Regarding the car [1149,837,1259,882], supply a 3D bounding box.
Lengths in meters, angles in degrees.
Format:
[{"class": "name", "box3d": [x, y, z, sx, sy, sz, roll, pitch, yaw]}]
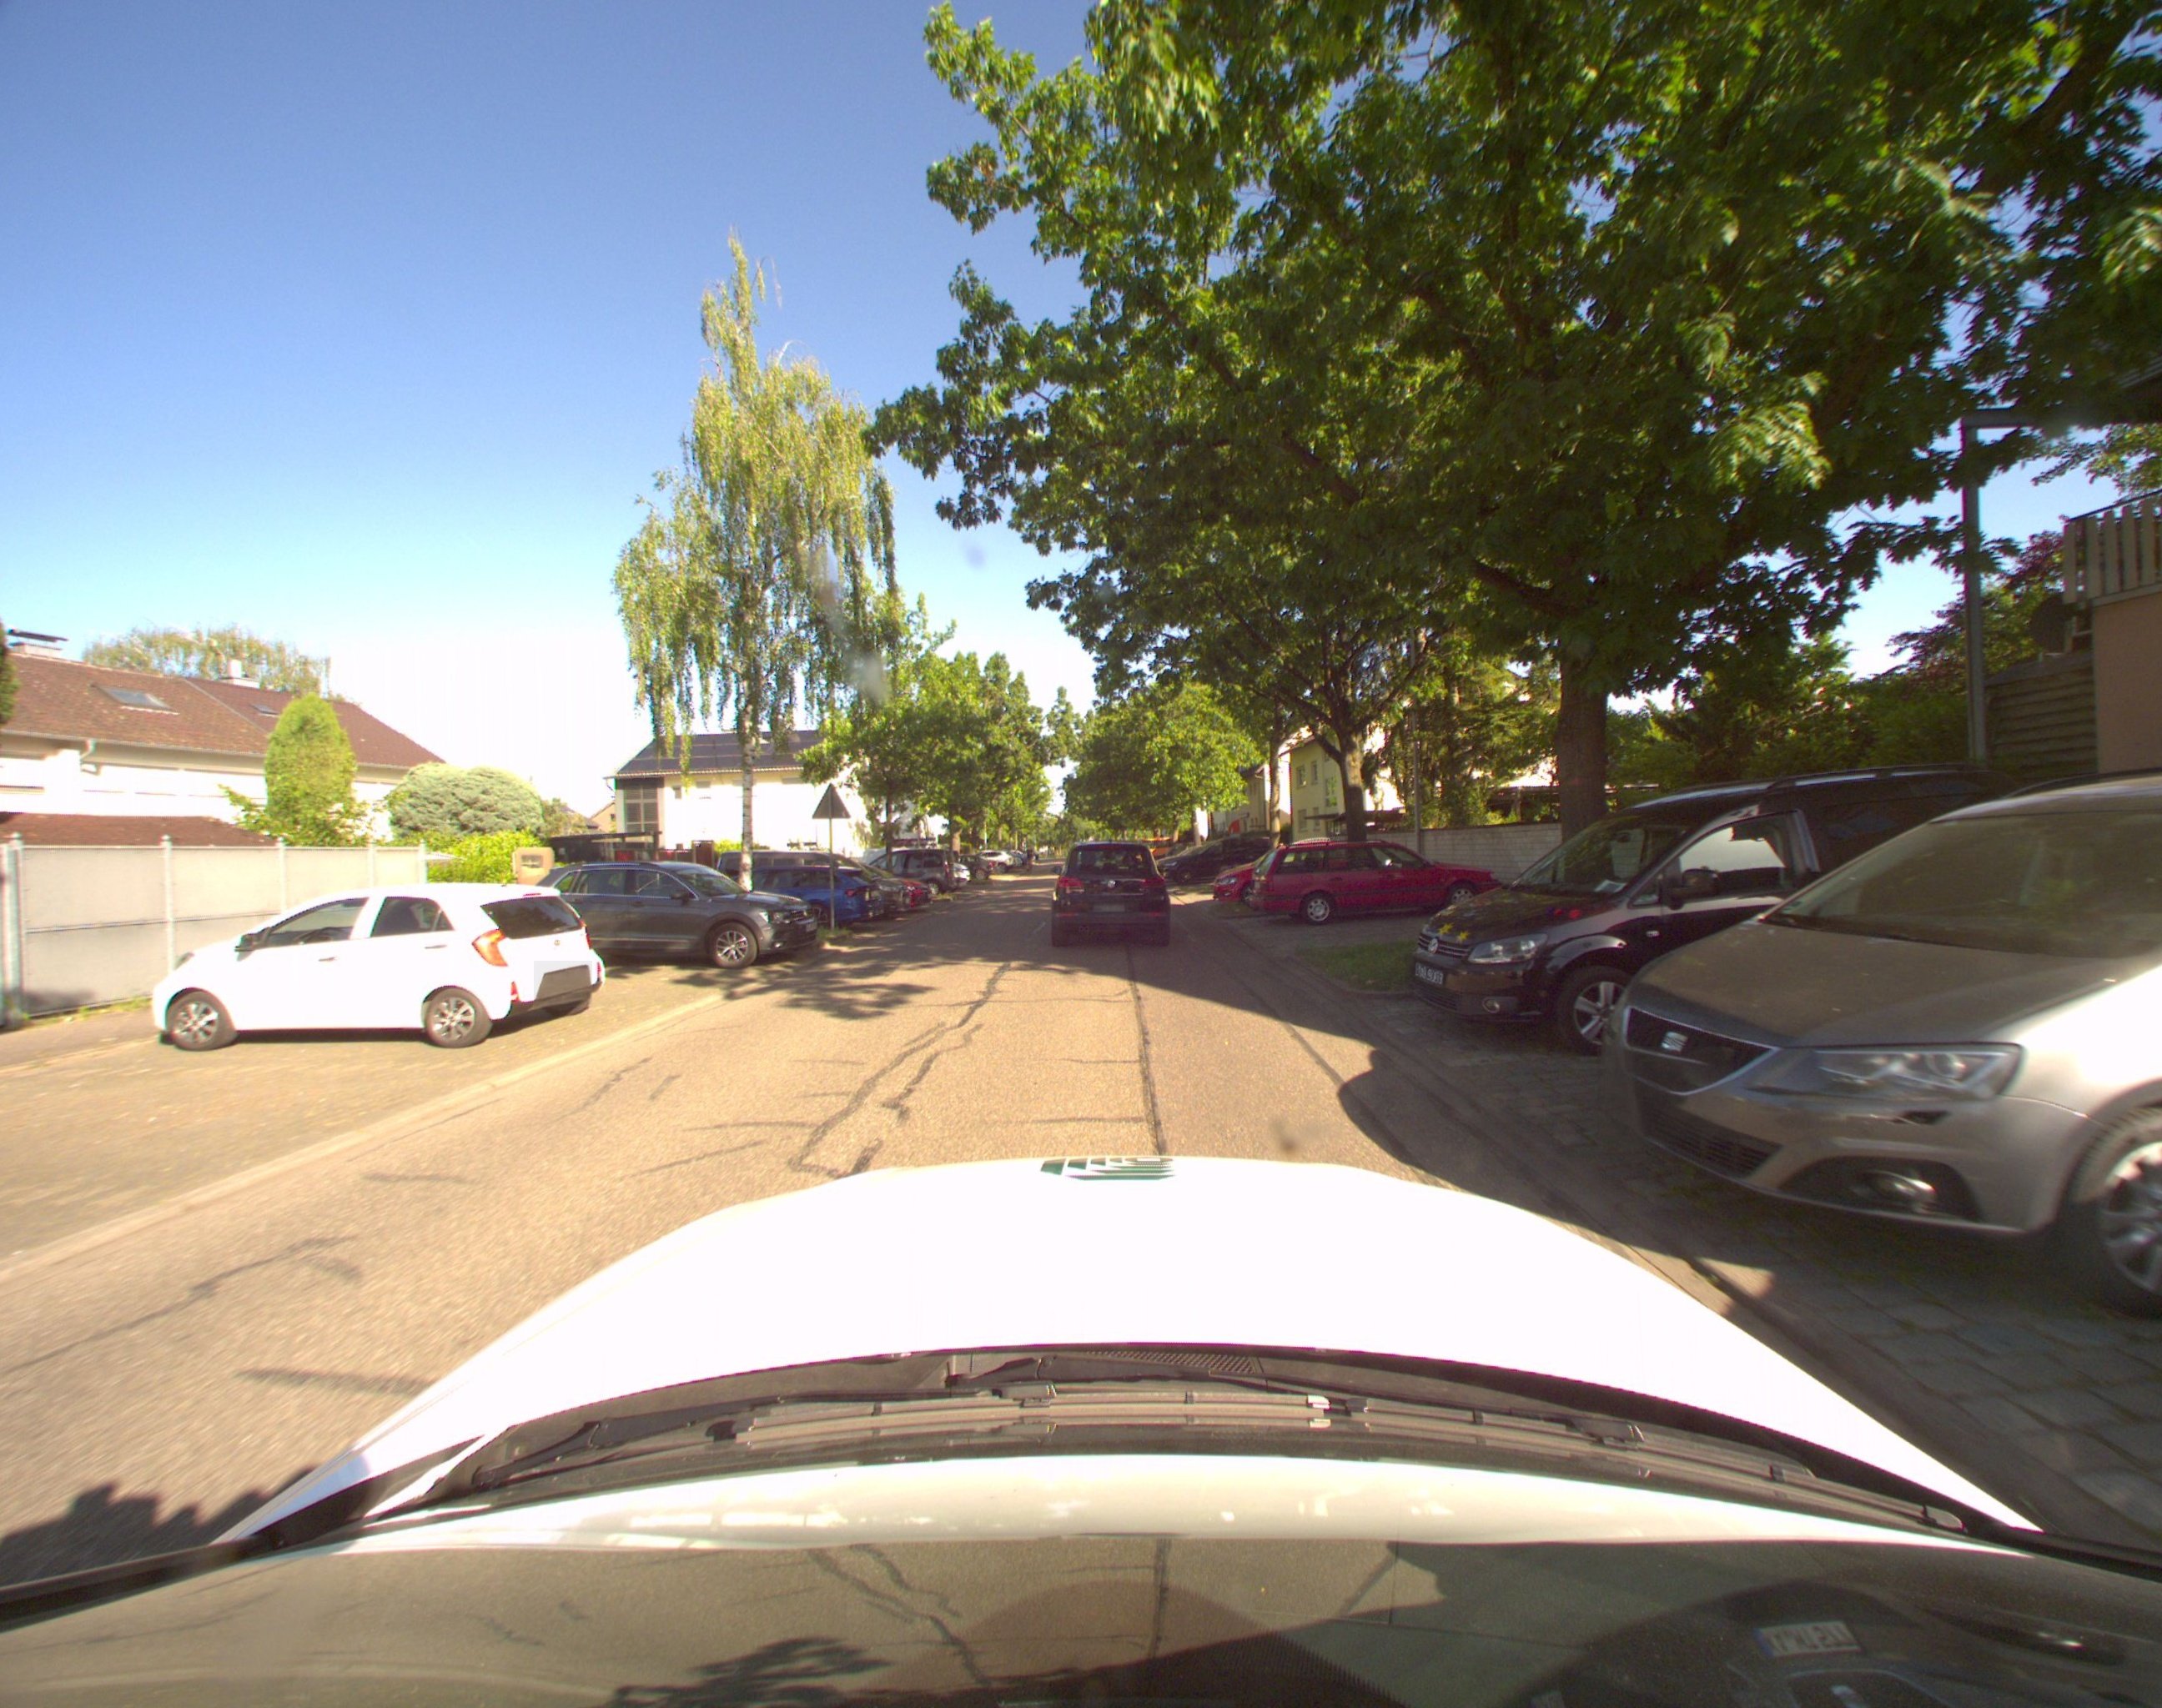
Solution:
[{"class": "car", "box3d": [5.172, 0.206, 34.736, 4.307, 1.529, 1.840, -5, 1, -1]}]

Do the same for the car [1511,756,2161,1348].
[{"class": "car", "box3d": [4.579, 0.430, 3.421, 4.491, 1.679, 1.878, -5, 0, -2]}]

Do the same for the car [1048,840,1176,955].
[{"class": "car", "box3d": [0.490, 0.617, 13.840, 1.831, 1.636, 3.959, -1, 0, 1]}]

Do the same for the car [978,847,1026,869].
[{"class": "car", "box3d": [-6.848, 0.342, 71.034, 3.975, 1.595, 1.856, -3, 0, -1]}]

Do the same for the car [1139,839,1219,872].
[{"class": "car", "box3d": [5.694, 0.078, 47.528, 4.326, 1.560, 1.866, -4, 1, -2]}]

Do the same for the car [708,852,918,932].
[{"class": "car", "box3d": [-6.657, 0.915, 20.620, 4.659, 1.768, 1.795, -2, 1, -1]}]

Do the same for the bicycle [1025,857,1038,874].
[{"class": "bicycle", "box3d": [-3.337, 0.761, 54.678, 0.594, 1.058, 1.986, -6, 1, 1]}]

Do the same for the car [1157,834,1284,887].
[{"class": "car", "box3d": [5.383, 0.228, 31.783, 4.560, 1.646, 1.838, -5, 1, -1]}]

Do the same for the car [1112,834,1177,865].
[{"class": "car", "box3d": [4.914, -0.335, 63.347, 4.805, 2.083, 2.085, -3, 0, -1]}]

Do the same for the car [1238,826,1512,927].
[{"class": "car", "box3d": [5.437, 0.406, 15.494, 4.487, 1.445, 1.839, -5, 0, 1]}]

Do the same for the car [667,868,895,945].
[{"class": "car", "box3d": [-6.444, 1.116, 17.793, 4.254, 1.424, 1.725, -2, 1, 2]}]

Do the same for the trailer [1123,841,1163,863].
[{"class": "trailer", "box3d": [5.155, -0.182, 67.845, 2.943, 1.664, 1.611, -3, 0, -7]}]

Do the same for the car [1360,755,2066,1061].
[{"class": "car", "box3d": [4.692, 0.364, 6.511, 4.200, 1.781, 1.788, -4, -1, -2]}]

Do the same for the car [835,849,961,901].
[{"class": "car", "box3d": [-6.725, 0.746, 30.253, 4.229, 1.770, 1.965, -1, 1, -3]}]

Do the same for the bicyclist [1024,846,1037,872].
[{"class": "bicyclist", "box3d": [-3.378, 0.302, 54.645, 0.594, 1.674, 0.975, -6, 0, 1]}]

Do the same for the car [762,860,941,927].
[{"class": "car", "box3d": [-6.348, 1.068, 22.934, 4.465, 1.499, 1.835, -3, 1, -3]}]

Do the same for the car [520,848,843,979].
[{"class": "car", "box3d": [-6.234, 0.886, 13.046, 4.194, 1.724, 1.762, -3, 1, 2]}]

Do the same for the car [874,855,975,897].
[{"class": "car", "box3d": [-6.724, 0.926, 35.330, 3.975, 1.516, 1.690, -3, 1, -1]}]

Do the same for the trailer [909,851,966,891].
[{"class": "trailer", "box3d": [-6.683, 0.787, 38.002, 2.226, 1.673, 1.476, -3, 1, 3]}]

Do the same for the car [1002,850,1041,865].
[{"class": "car", "box3d": [-6.748, 0.389, 92.151, 4.264, 1.478, 1.767, -3, 0, -2]}]

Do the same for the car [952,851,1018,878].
[{"class": "car", "box3d": [-6.537, 0.675, 55.827, 4.173, 1.567, 1.792, -3, 0, 0]}]

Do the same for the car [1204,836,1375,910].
[{"class": "car", "box3d": [5.110, 0.466, 20.314, 3.764, 1.484, 1.756, -4, -1, 1]}]

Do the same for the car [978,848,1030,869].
[{"class": "car", "box3d": [-7.122, 0.395, 75.431, 4.511, 1.631, 1.937, -3, 0, -1]}]

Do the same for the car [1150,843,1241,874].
[{"class": "car", "box3d": [5.873, 0.230, 42.149, 4.411, 1.331, 1.691, -3, 0, 1]}]

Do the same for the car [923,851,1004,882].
[{"class": "car", "box3d": [-6.502, 0.686, 45.442, 4.198, 1.471, 1.690, -2, 1, -1]}]

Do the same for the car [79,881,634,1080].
[{"class": "car", "box3d": [-7.096, 1.187, 8.296, 3.986, 1.515, 1.796, -3, 0, 2]}]

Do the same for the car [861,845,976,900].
[{"class": "car", "box3d": [-6.506, 0.728, 32.997, 4.227, 1.944, 1.998, -3, 0, -3]}]
